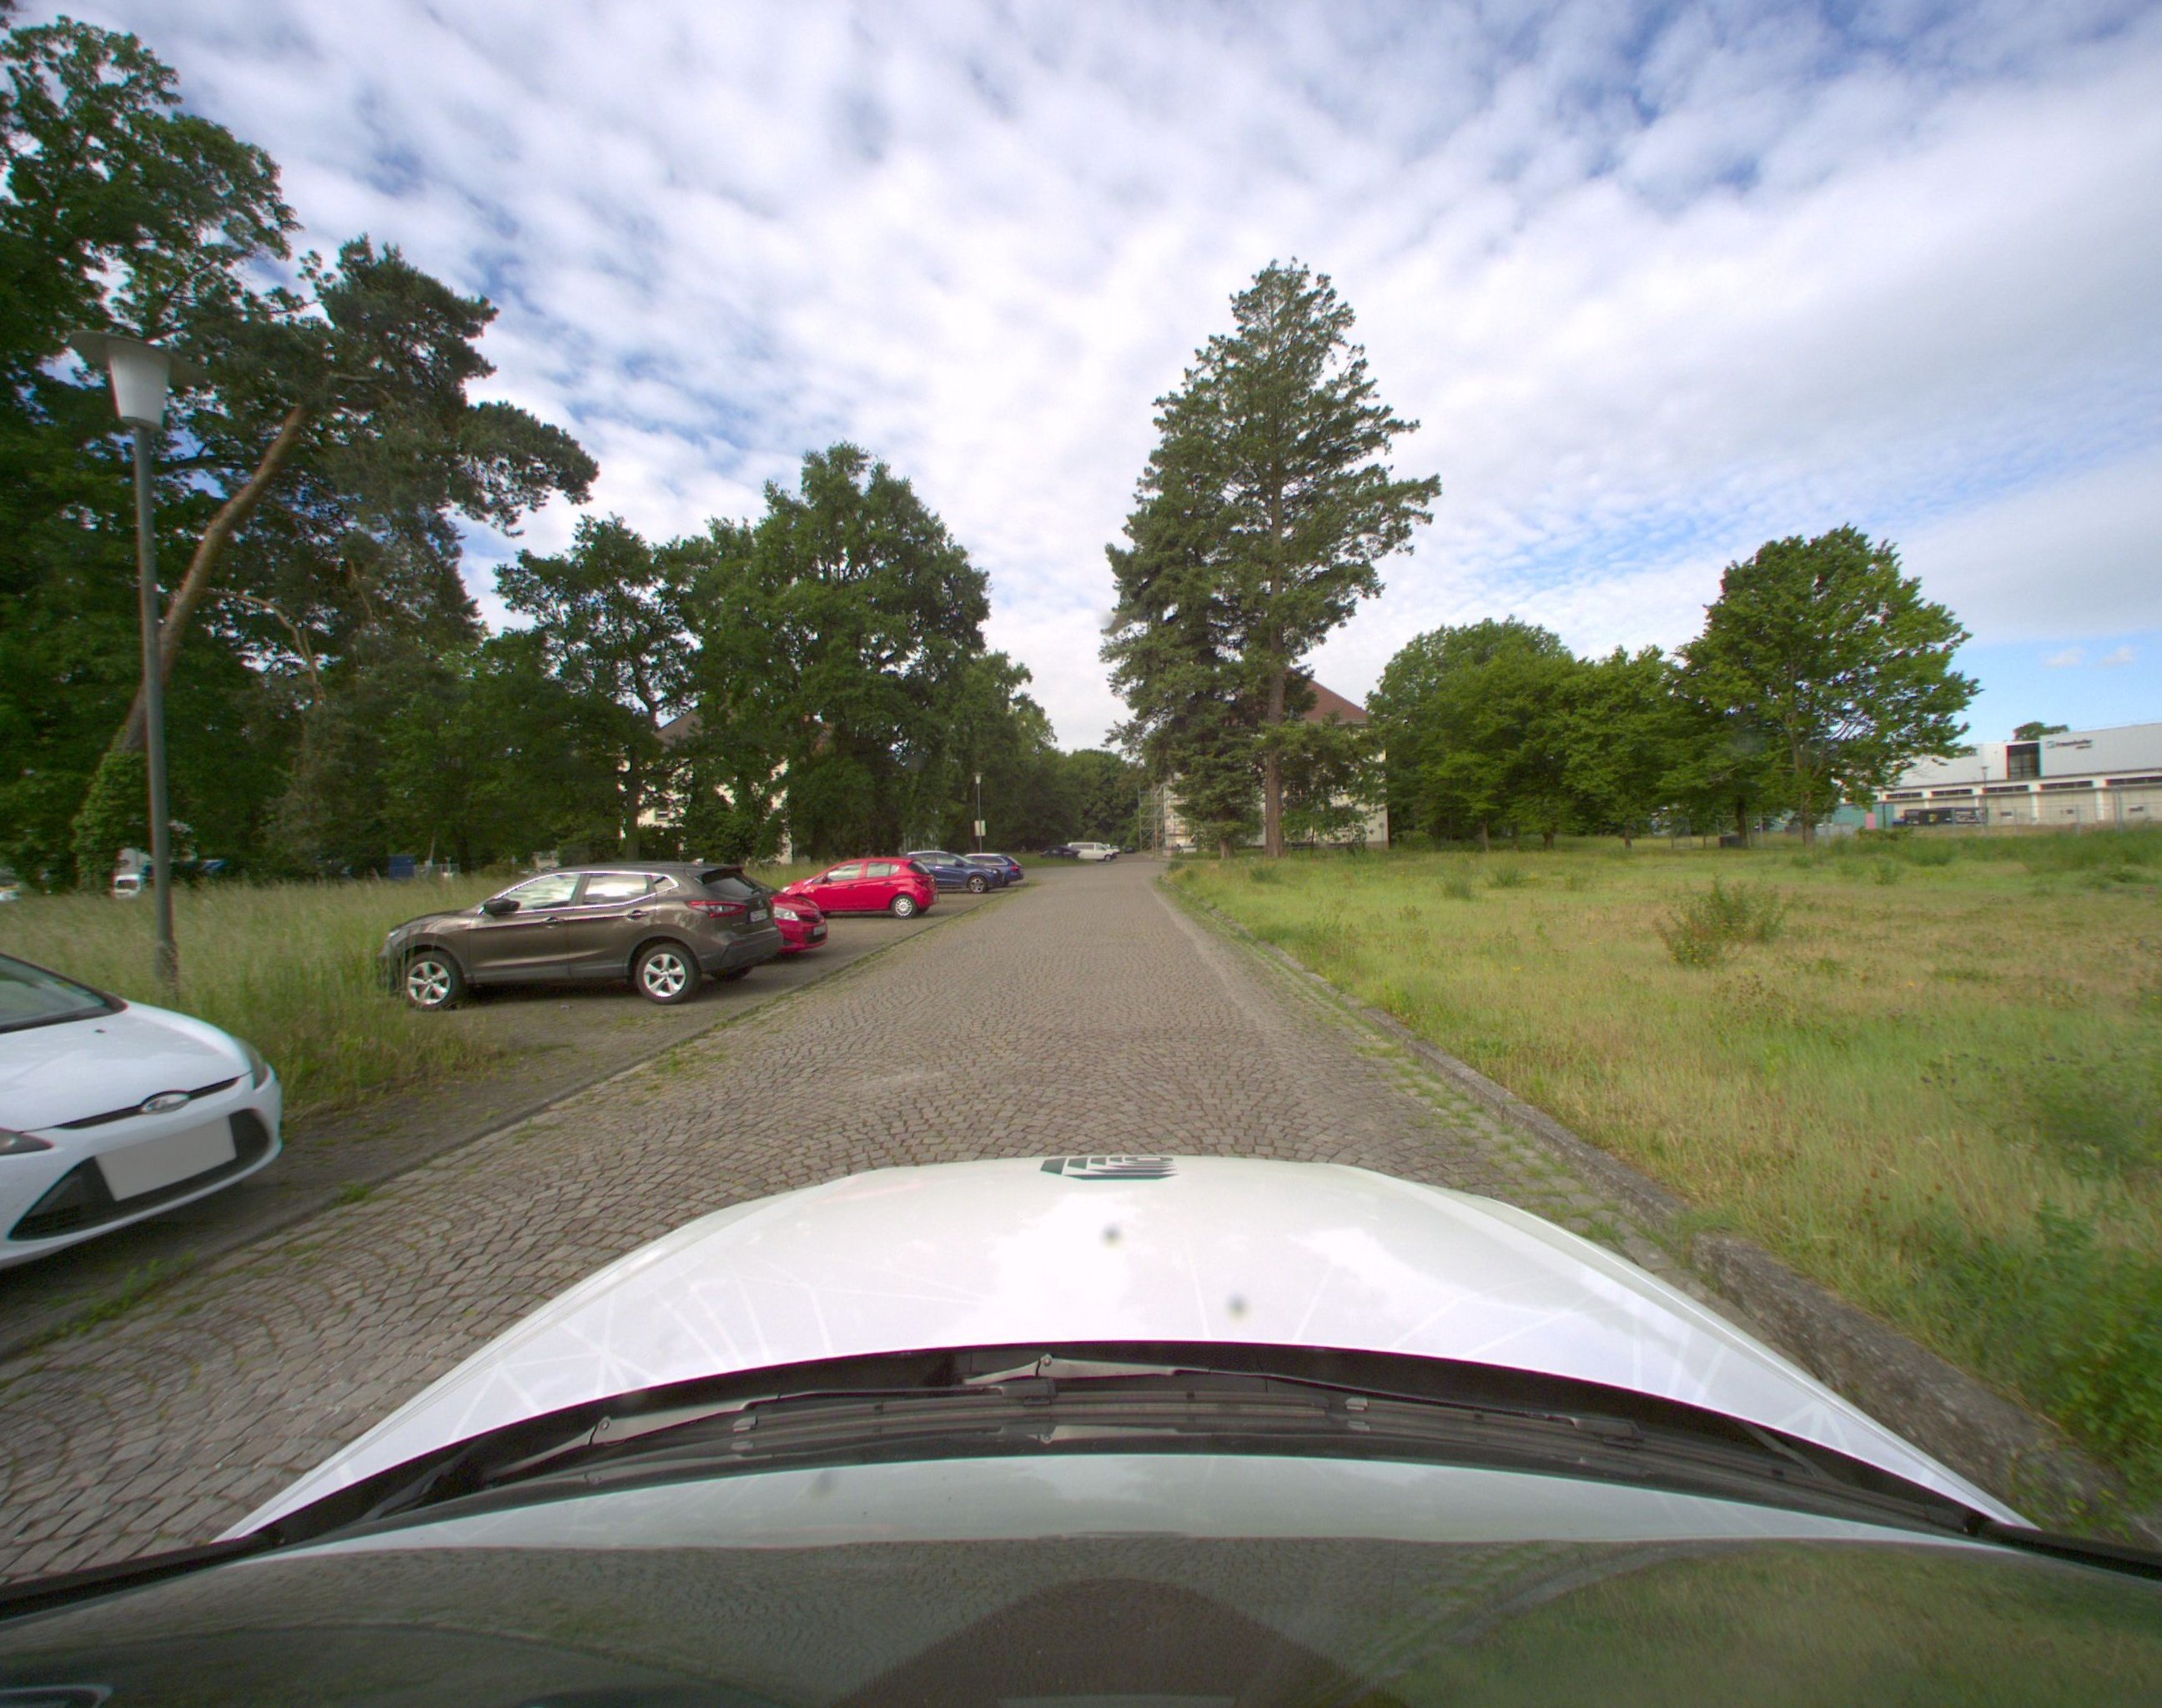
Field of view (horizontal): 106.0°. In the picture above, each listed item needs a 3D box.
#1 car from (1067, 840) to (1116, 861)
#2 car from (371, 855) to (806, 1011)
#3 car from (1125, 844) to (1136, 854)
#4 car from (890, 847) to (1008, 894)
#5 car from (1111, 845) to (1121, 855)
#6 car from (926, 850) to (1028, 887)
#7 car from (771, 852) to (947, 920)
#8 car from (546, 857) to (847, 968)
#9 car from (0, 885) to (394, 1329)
[{"bbox_3d":[1.143,-0.364,84.065,4.961,2.072,2.052,-1,-1,0],"label":"car"},{"bbox_3d":[-5.766,0.879,9.956,4.054,1.575,1.955,-2,1,1],"label":"car"},{"bbox_3d":[9.045,-0.936,150.269,1.784,1.720,4.061,-2,-1,1],"label":"car"},{"bbox_3d":[-4.865,0.598,30.515,4.057,1.604,1.788,-2,1,0],"label":"car"},{"bbox_3d":[6.422,-0.793,150.021,1.784,1.636,4.061,-2,-1,1],"label":"car"},{"bbox_3d":[-4.475,0.611,35.205,4.051,1.467,1.628,-2,1,5],"label":"car"},{"bbox_3d":[-5.435,0.762,20.271,3.802,1.489,1.788,-2,1,1],"label":"car"},{"bbox_3d":[-5.863,0.860,12.749,3.801,1.486,1.762,-2,1,2],"label":"car"},{"bbox_3d":[-5.752,0.987,3.653,3.782,1.493,1.726,-2,1,-1],"label":"car"}]
